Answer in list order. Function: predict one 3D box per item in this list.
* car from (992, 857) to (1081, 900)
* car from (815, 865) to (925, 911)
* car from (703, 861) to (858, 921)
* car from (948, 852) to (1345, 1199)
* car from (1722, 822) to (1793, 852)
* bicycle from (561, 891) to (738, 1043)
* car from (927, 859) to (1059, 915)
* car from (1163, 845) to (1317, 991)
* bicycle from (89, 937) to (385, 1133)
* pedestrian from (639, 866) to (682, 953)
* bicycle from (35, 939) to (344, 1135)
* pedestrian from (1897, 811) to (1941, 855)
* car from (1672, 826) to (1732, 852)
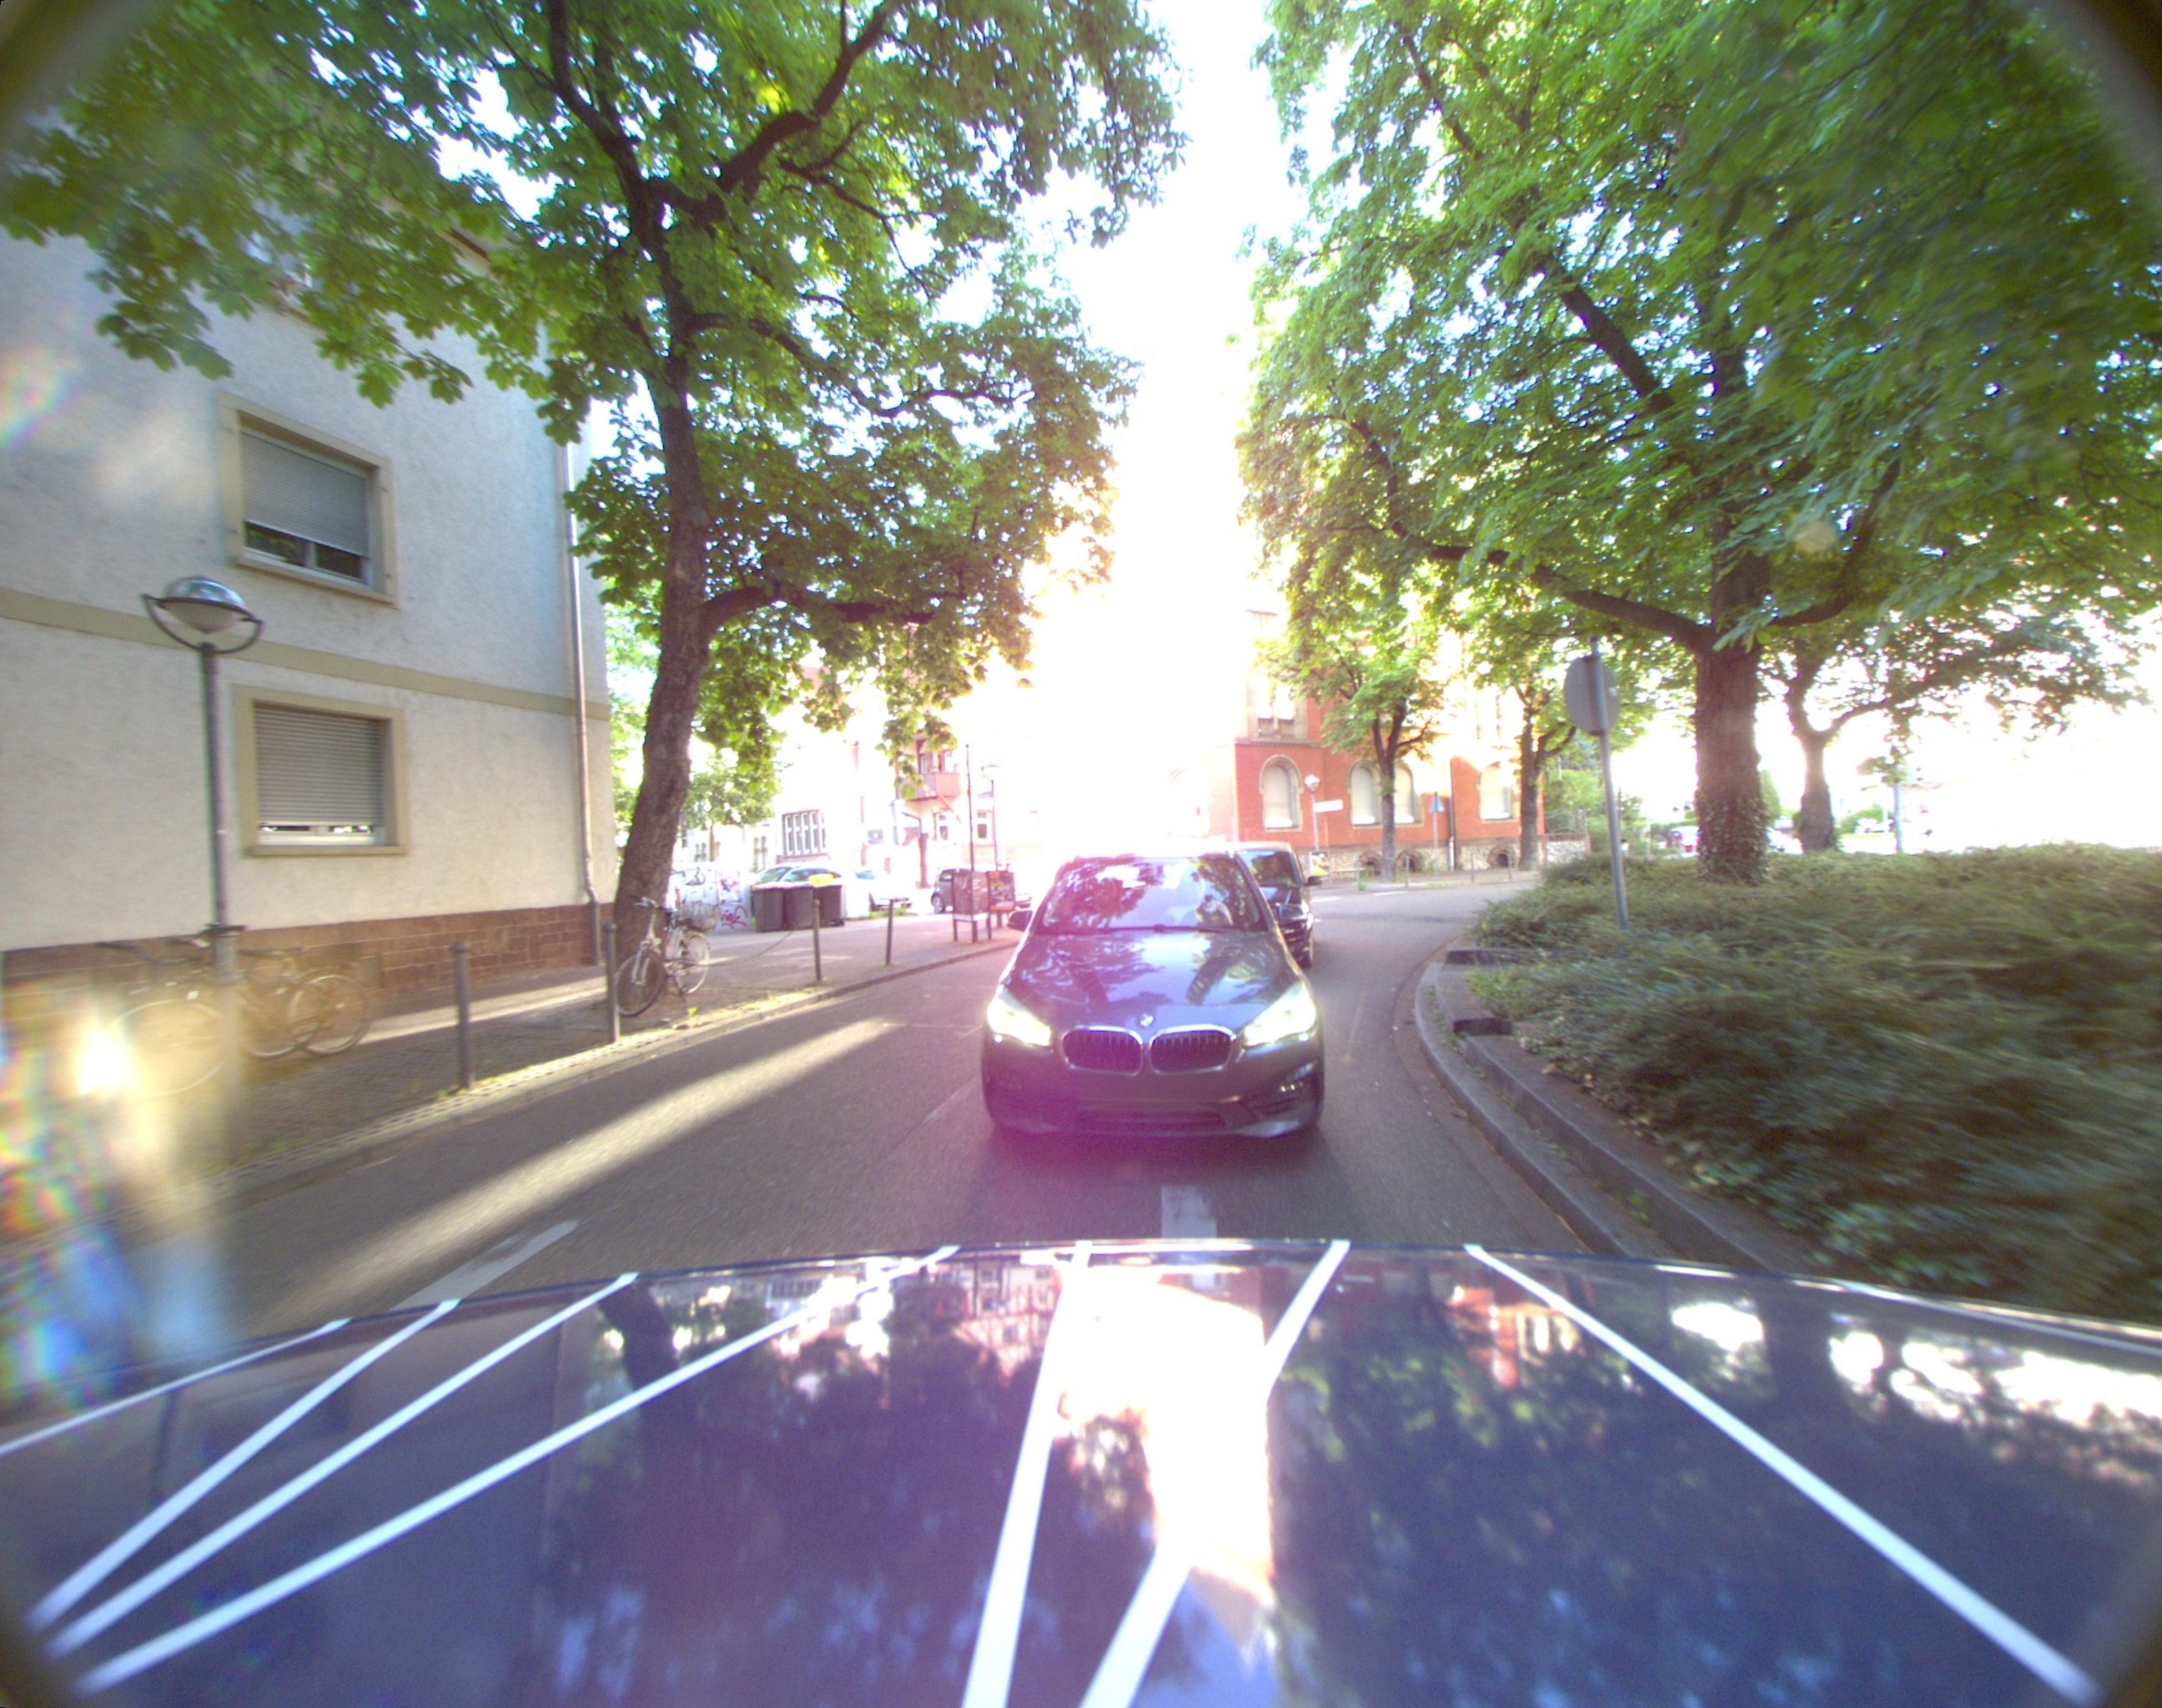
[{"bbox_3d":[-1.738,0.928,29.243,3.207,1.531,1.495,-2,0,39],"label":"car"},{"bbox_3d":[-7.931,1.287,28.384,4.174,1.543,1.809,-3,0,39],"label":"car"},{"bbox_3d":[-8.720,1.040,22.305,1.672,1.417,3.811,-3,0,38],"label":"car"},{"bbox_3d":[0.476,0.816,5.672,1.793,1.569,4.262,-2,0,5],"label":"car"},{"bbox_3d":[35.619,-0.898,40.110,1.732,1.409,4.006,-3,0,26],"label":"car"},{"bbox_3d":[-4.507,1.115,8.132,0.767,1.297,1.903,-3,0,-1],"label":"bicycle"},{"bbox_3d":[-2.798,1.027,23.706,4.041,1.543,1.700,-3,0,39],"label":"car"},{"bbox_3d":[2.327,0.738,10.593,1.677,1.619,3.691,-3,0,16],"label":"car"},{"bbox_3d":[-6.293,1.283,5.808,0.334,1.087,1.636,-3,0,2],"label":"bicycle"},{"bbox_3d":[-8.125,1.038,14.706,0.643,1.583,0.943,-2,1,-28],"label":"pedestrian"},{"bbox_3d":[-6.657,1.295,5.814,0.334,1.087,1.636,-3,0,2],"label":"bicycle"},{"bbox_3d":[32.549,-0.816,29.508,0.905,1.625,0.725,-5,0,-13],"label":"pedestrian"},{"bbox_3d":[38.805,-0.963,47.600,1.733,1.409,4.004,-3,2,22],"label":"car"}]
